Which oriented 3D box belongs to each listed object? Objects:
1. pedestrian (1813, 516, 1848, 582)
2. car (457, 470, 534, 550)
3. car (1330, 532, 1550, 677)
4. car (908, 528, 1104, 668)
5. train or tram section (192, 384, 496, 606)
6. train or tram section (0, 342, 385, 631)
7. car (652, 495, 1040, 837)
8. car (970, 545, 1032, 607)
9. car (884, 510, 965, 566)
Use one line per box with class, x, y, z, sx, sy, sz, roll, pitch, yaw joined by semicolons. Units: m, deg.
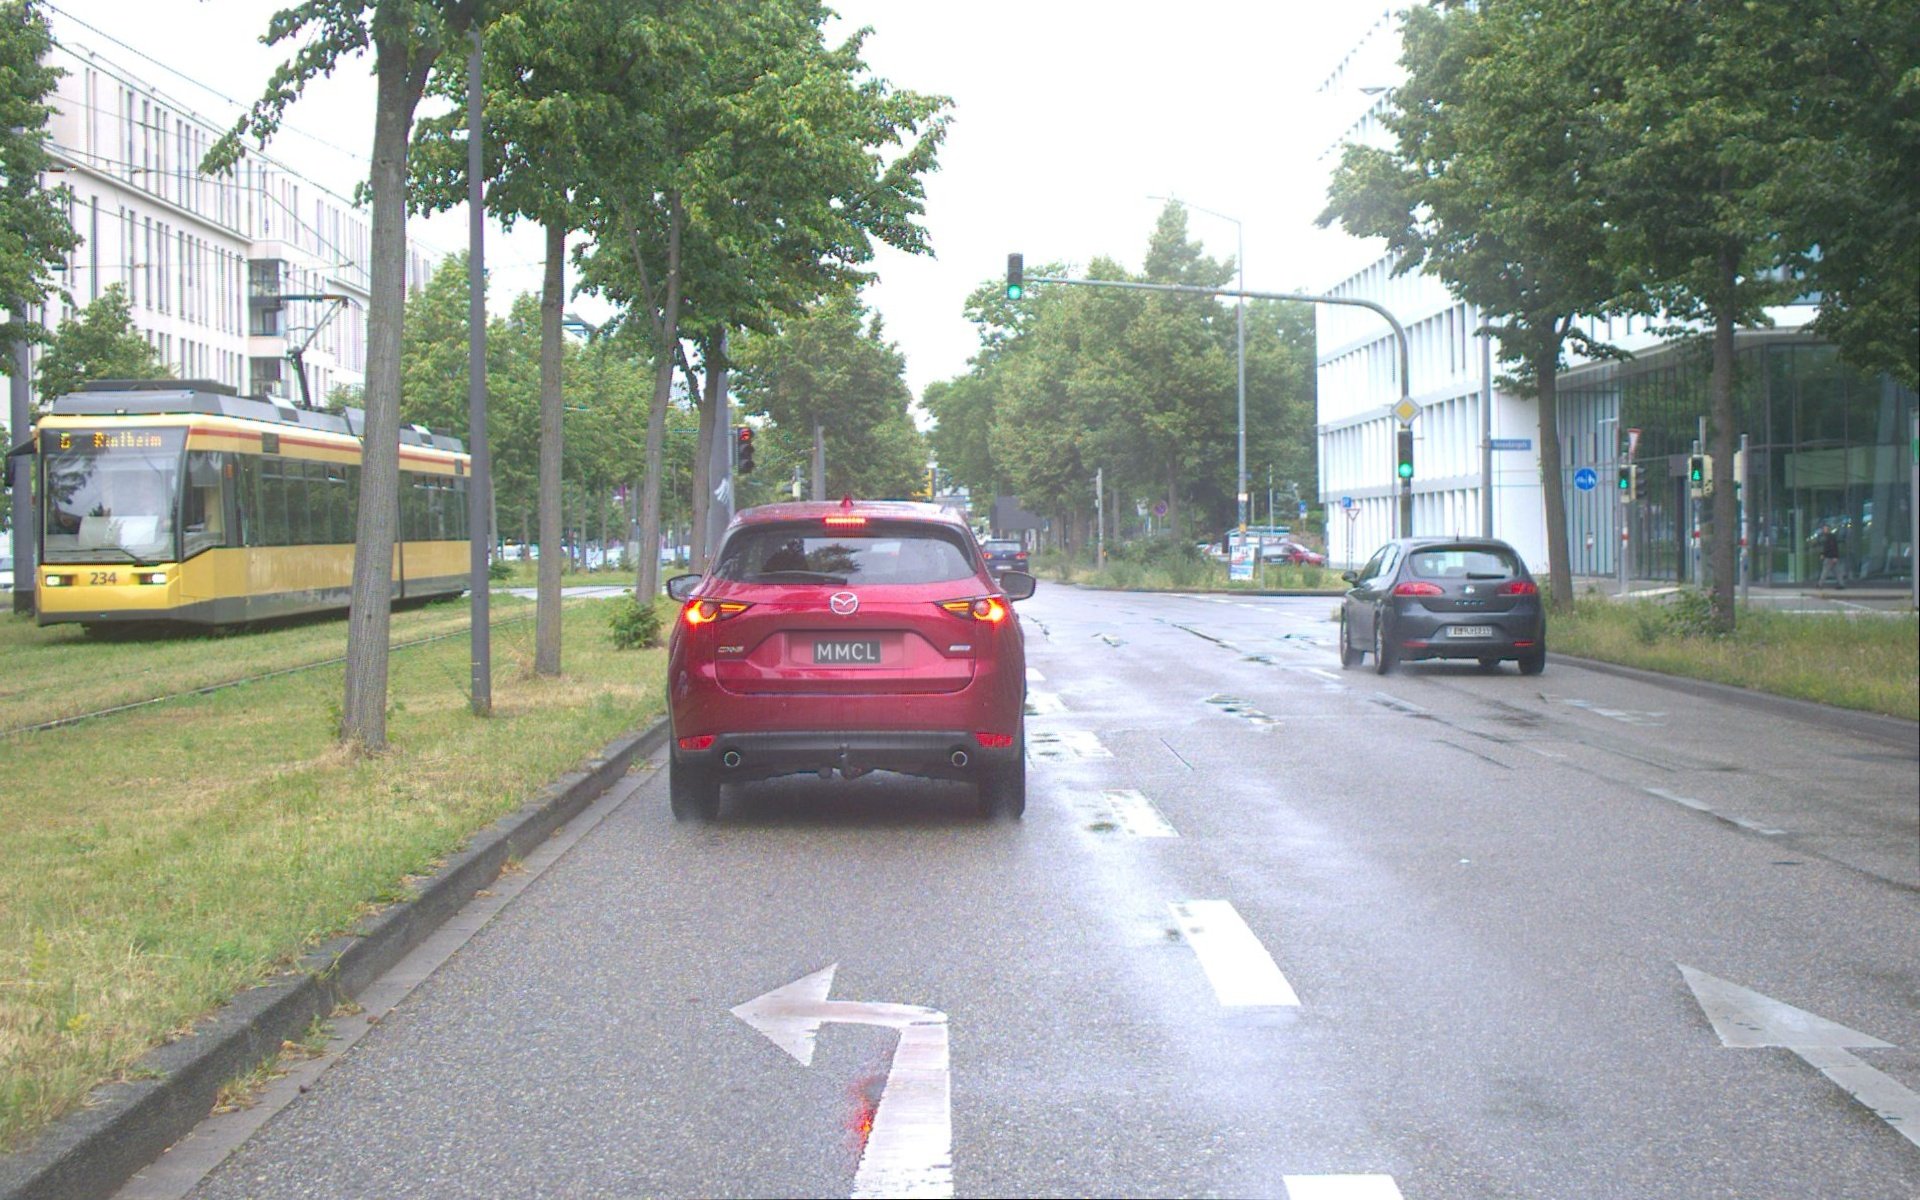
pedestrian;22.494;-1.315;88.842;0.782;1.701;0.679;0;1;22
car;-15.198;-2.954;112.784;2.255;2.553;4.656;0;1;-5
car;5.109;0.012;37.019;1.743;1.460;3.782;0;1;-2
car;0.564;-0.062;38.196;1.960;1.460;3.781;0;1;4
train or tram section;-11.168;-1.916;64.179;3.129;3.646;15.065;0;1;-1
train or tram section;-10.987;-1.596;50.032;3.129;3.646;13.408;0;1;-1
car;-0.599;0.274;18.856;1.898;1.671;4.000;0;1;-1
car;1.391;-0.835;117.054;1.993;2.007;4.000;-1;1;-1
car;-0.964;-1.664;91.253;1.967;1.432;4.553;1;1;-2
